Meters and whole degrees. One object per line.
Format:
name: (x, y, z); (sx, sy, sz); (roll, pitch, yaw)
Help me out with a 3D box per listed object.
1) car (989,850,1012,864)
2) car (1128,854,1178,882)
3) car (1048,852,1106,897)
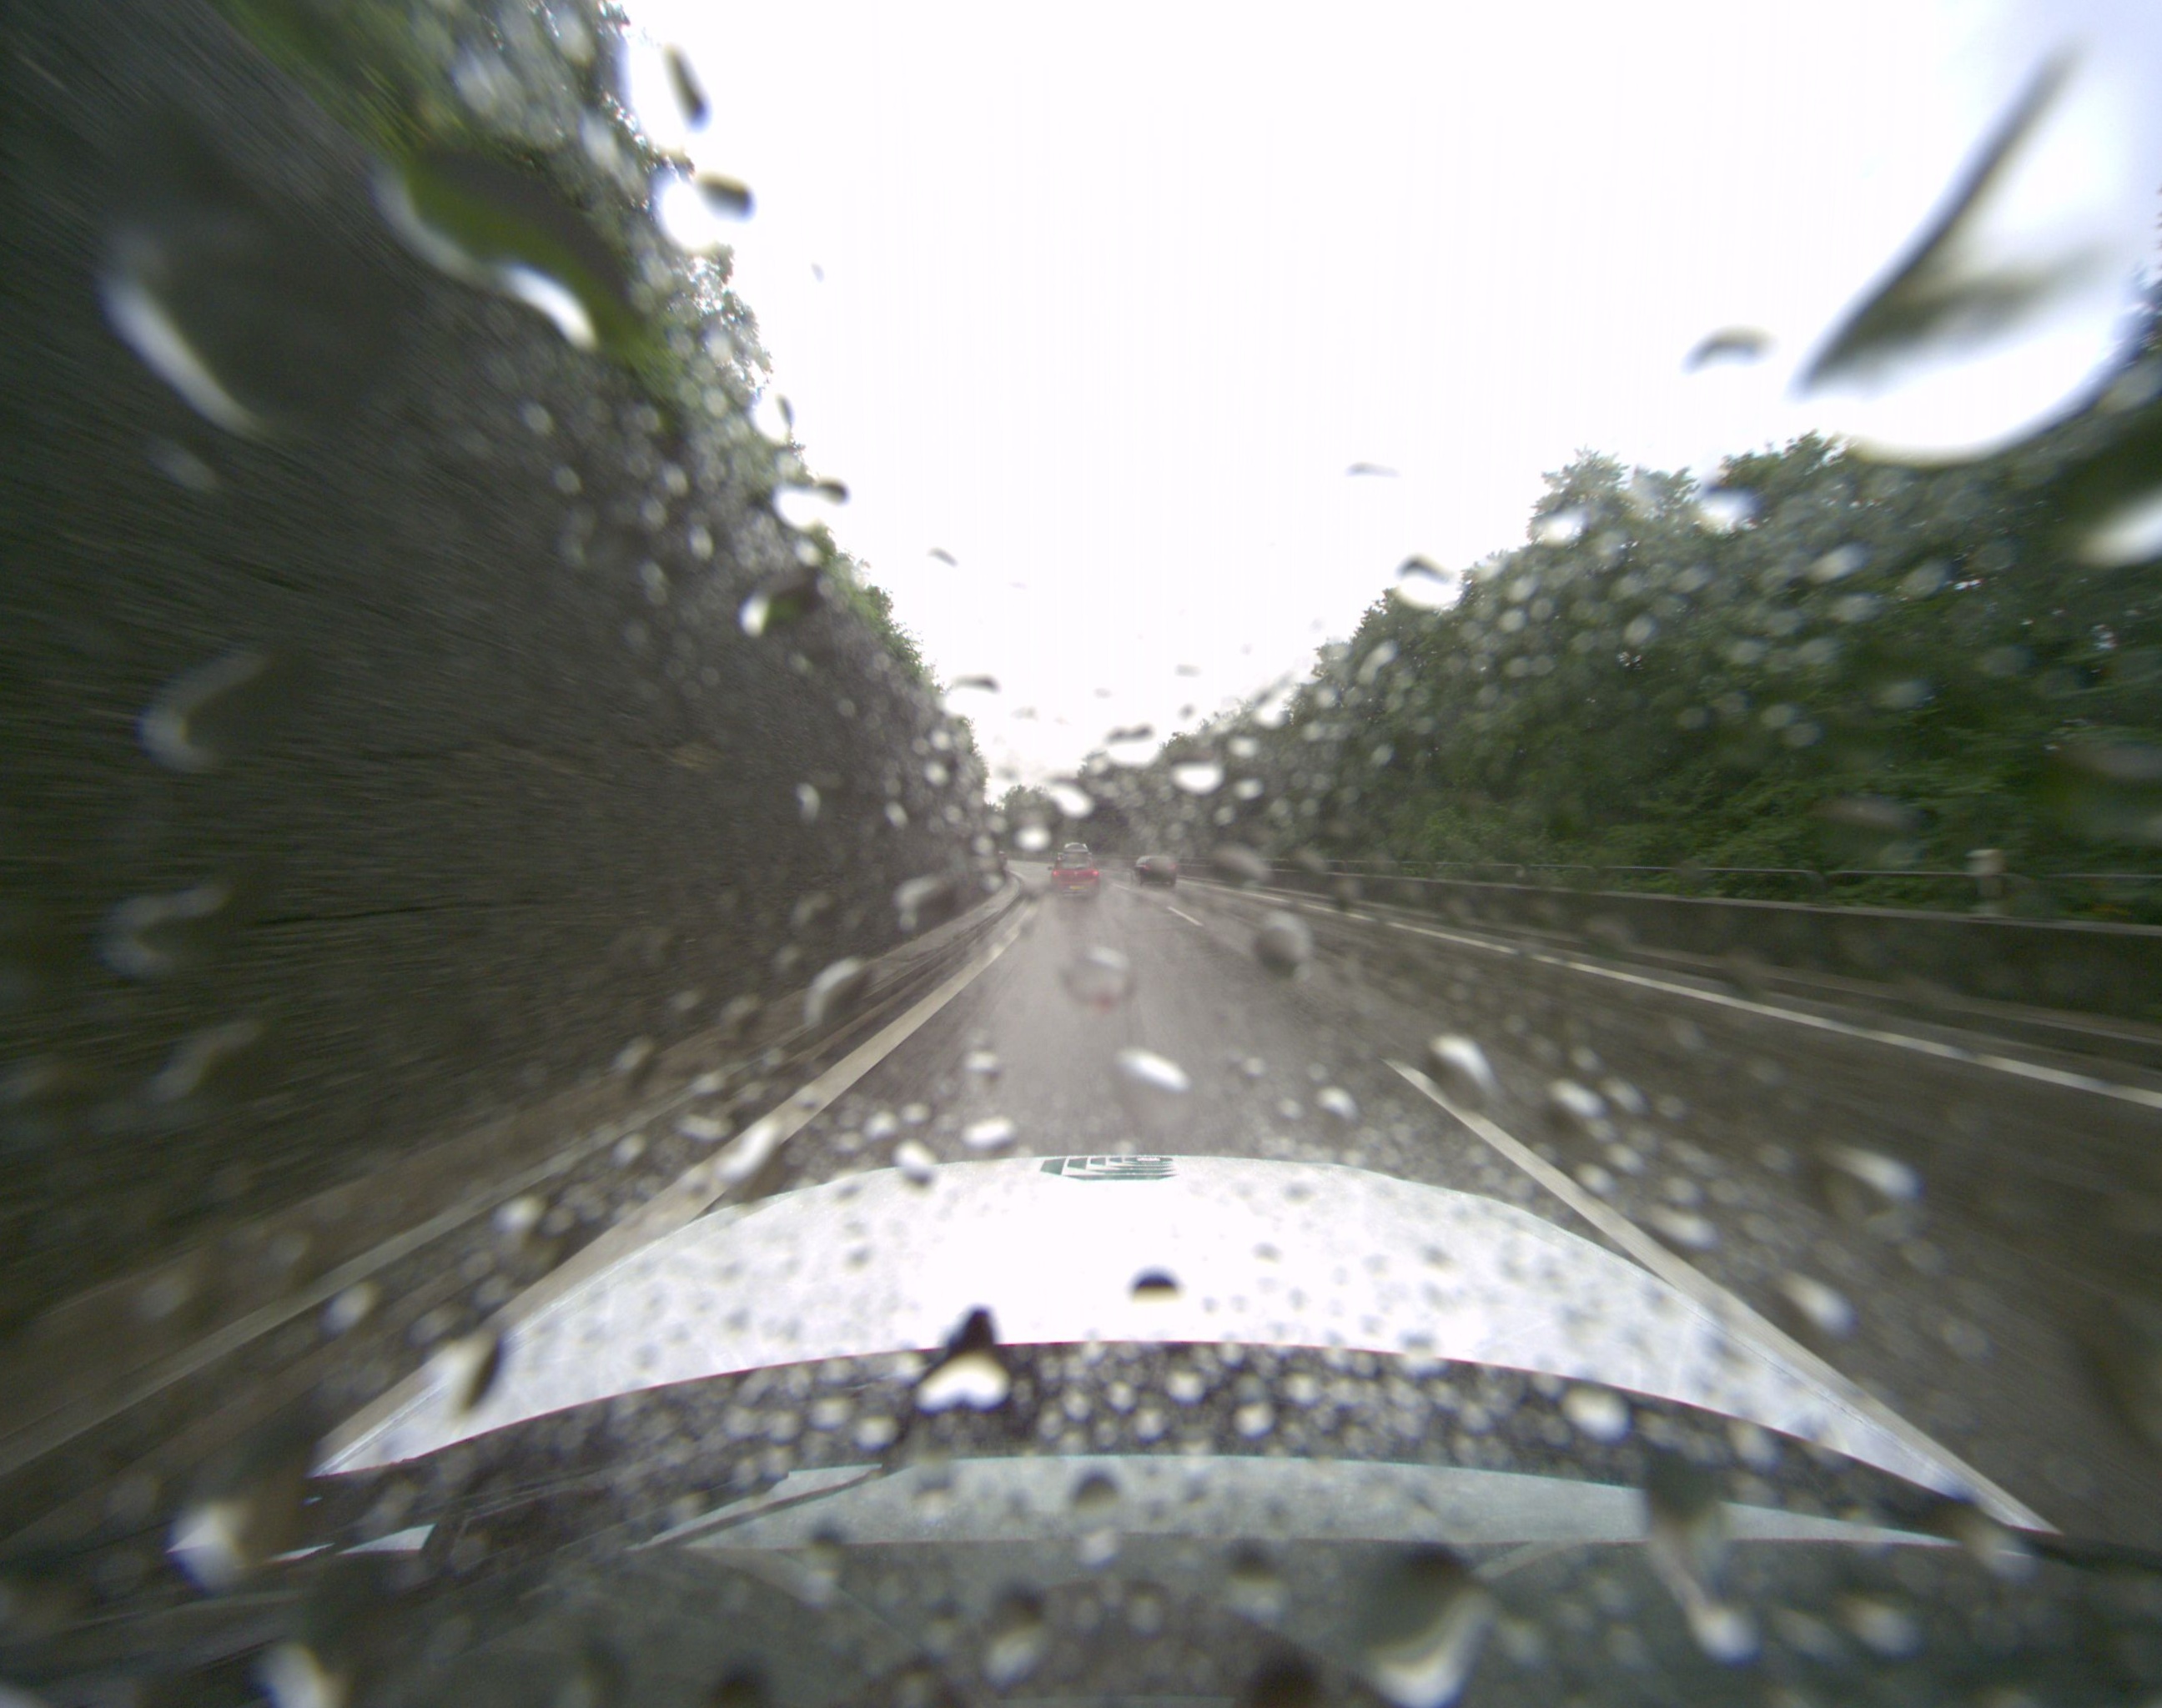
car: (-9.596, 0.352, 97.106); (1.998, 1.684, 3.978); (1, -1, -16)
car: (3.533, 0.677, 40.596); (1.798, 1.308, 3.992); (0, 0, -5)
car: (-0.231, 0.724, 30.558); (1.989, 1.552, 3.995); (0, 0, -3)
